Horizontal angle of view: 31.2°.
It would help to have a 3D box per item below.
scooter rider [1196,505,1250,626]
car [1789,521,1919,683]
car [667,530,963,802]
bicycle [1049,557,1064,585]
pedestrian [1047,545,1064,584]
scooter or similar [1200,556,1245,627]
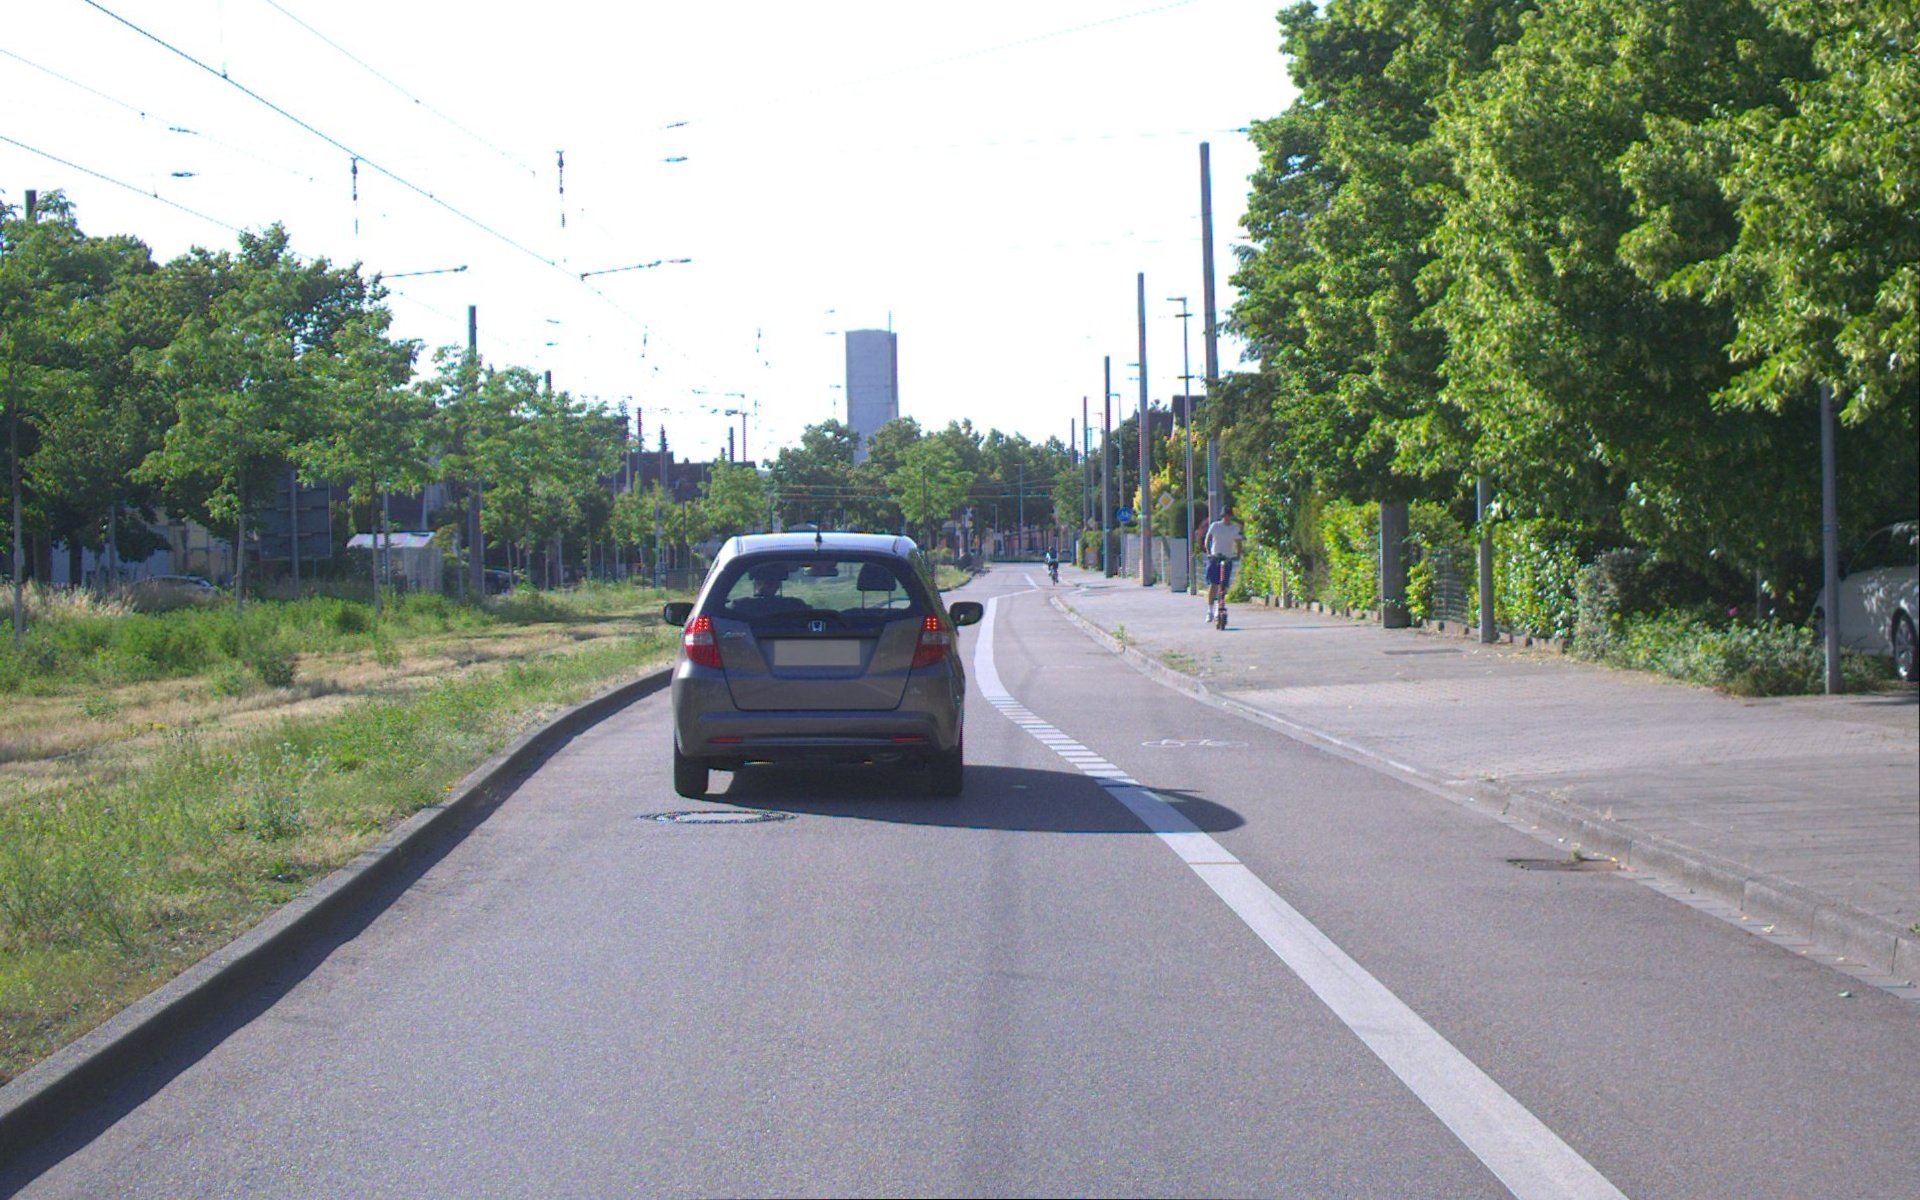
[{"bbox_3d":[4.197,-0.552,54.883,0.716,1.894,0.935,-1,0,-1],"label":"scooter rider"},{"bbox_3d":[8.992,-0.039,31.266,1.774,1.382,3.870,-2,1,-3],"label":"car"},{"bbox_3d":[-0.802,0.336,20.781,1.624,1.494,3.457,0,1,0],"label":"car"},{"bbox_3d":[4.480,-1.358,159.482,0.512,1.237,3.090,-1,1,-1],"label":"bicycle"},{"bbox_3d":[4.424,-1.639,159.477,0.722,1.794,1.164,-1,1,-1],"label":"pedestrian"},{"bbox_3d":[4.188,-0.140,54.911,0.539,1.114,1.417,-1,1,-1],"label":"scooter or similar"}]
